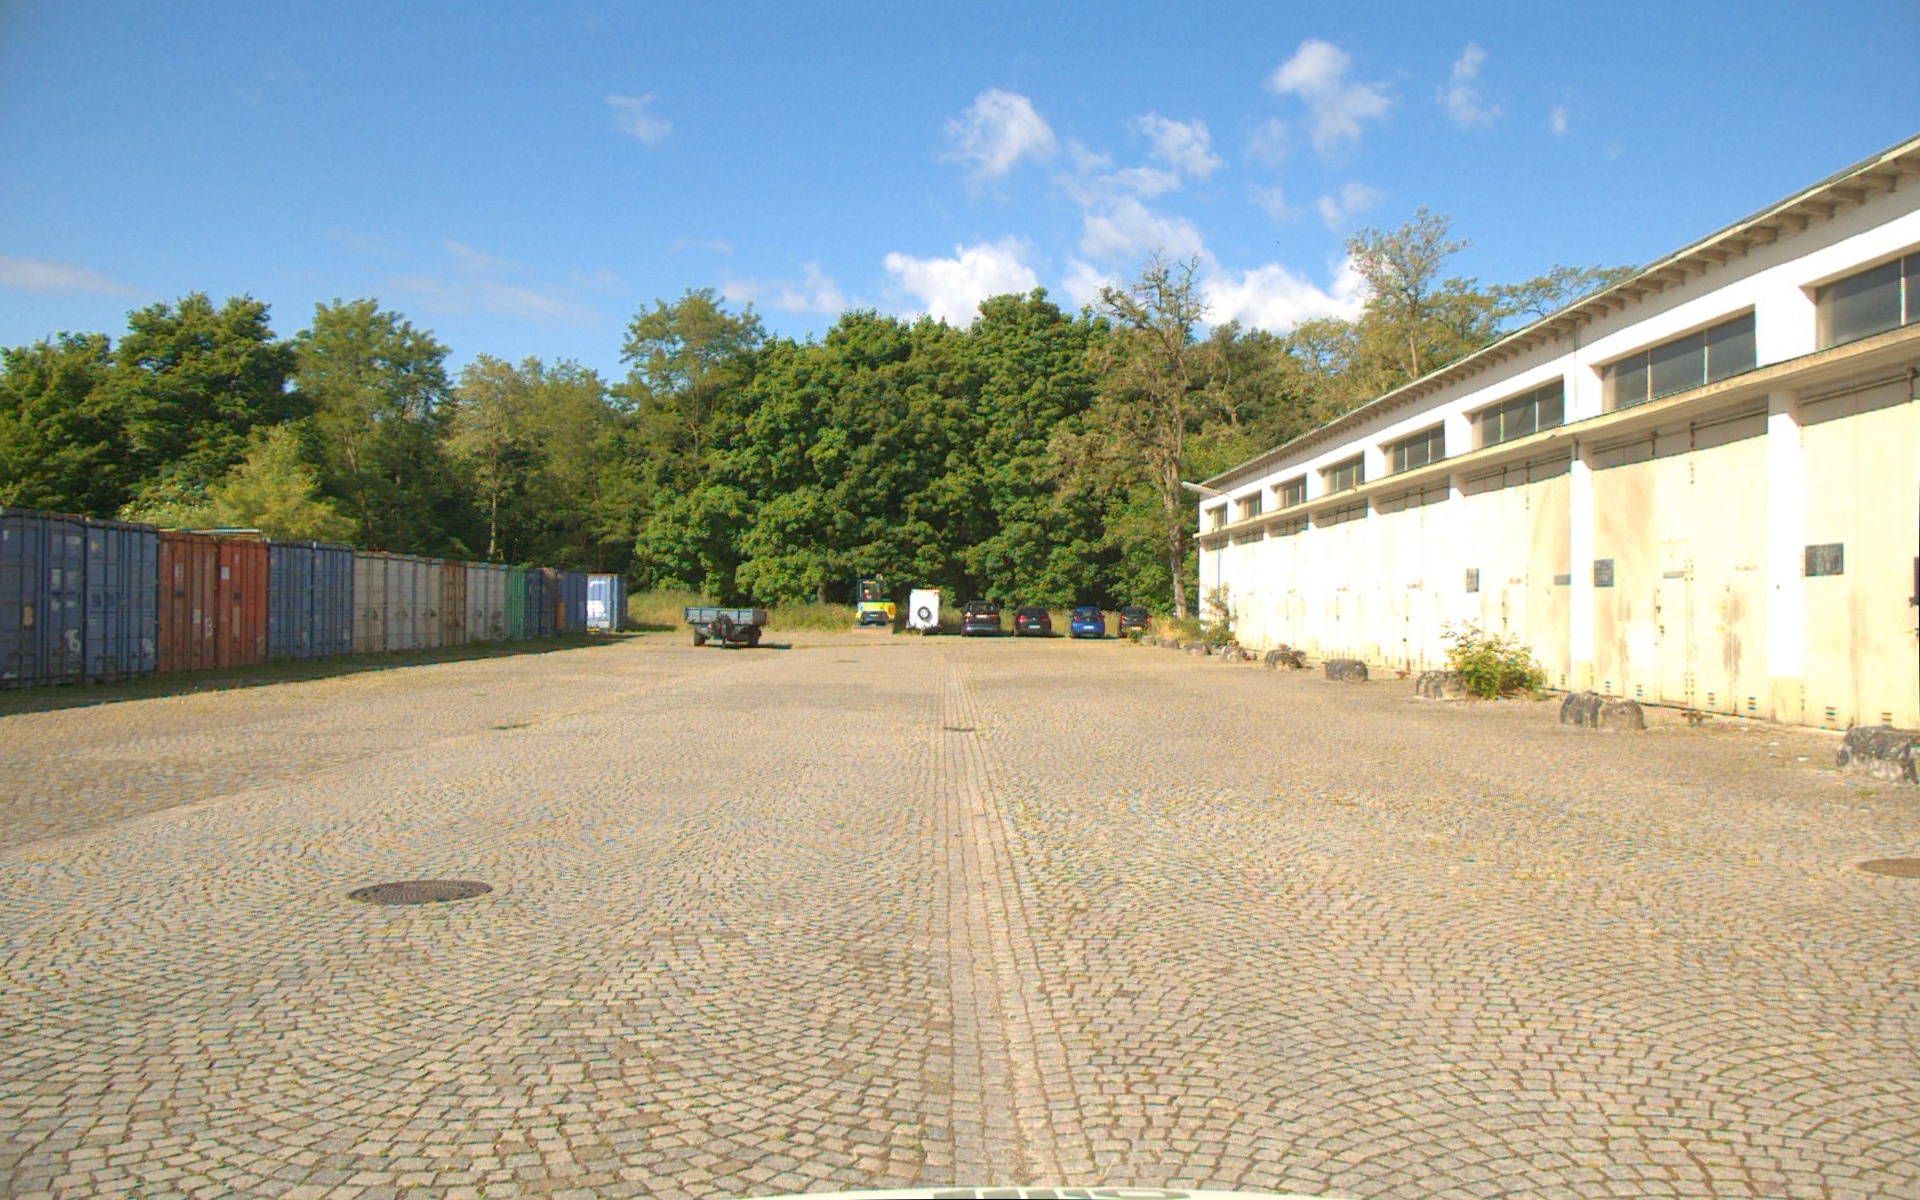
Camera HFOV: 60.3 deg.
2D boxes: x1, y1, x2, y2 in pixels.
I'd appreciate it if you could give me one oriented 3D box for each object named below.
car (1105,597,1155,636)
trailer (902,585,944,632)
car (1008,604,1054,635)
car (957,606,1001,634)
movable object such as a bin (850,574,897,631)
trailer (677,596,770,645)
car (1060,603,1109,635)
[{"bbox_3d":[8.168,0.782,79.676,1.953,1.803,3.999,0,0,-1],"label":"car"},{"bbox_3d":[-1.771,0.414,79.138,1.953,2.200,4.430,0,0,-1],"label":"trailer"},{"bbox_3d":[3.329,0.905,78.360,1.953,1.449,3.999,0,0,-1],"label":"car"},{"bbox_3d":[0.857,0.911,77.944,1.953,1.280,3.999,0,0,-1],"label":"car"},{"bbox_3d":[-4.192,0.129,79.857,2.187,2.704,3.997,0,0,-3],"label":"movable object such as a bin"},{"bbox_3d":[-8.553,0.732,60.466,2.735,1.675,5.618,0,0,-2],"label":"trailer"},{"bbox_3d":[5.869,0.883,78.392,1.953,1.492,3.999,0,0,-1],"label":"car"}]
